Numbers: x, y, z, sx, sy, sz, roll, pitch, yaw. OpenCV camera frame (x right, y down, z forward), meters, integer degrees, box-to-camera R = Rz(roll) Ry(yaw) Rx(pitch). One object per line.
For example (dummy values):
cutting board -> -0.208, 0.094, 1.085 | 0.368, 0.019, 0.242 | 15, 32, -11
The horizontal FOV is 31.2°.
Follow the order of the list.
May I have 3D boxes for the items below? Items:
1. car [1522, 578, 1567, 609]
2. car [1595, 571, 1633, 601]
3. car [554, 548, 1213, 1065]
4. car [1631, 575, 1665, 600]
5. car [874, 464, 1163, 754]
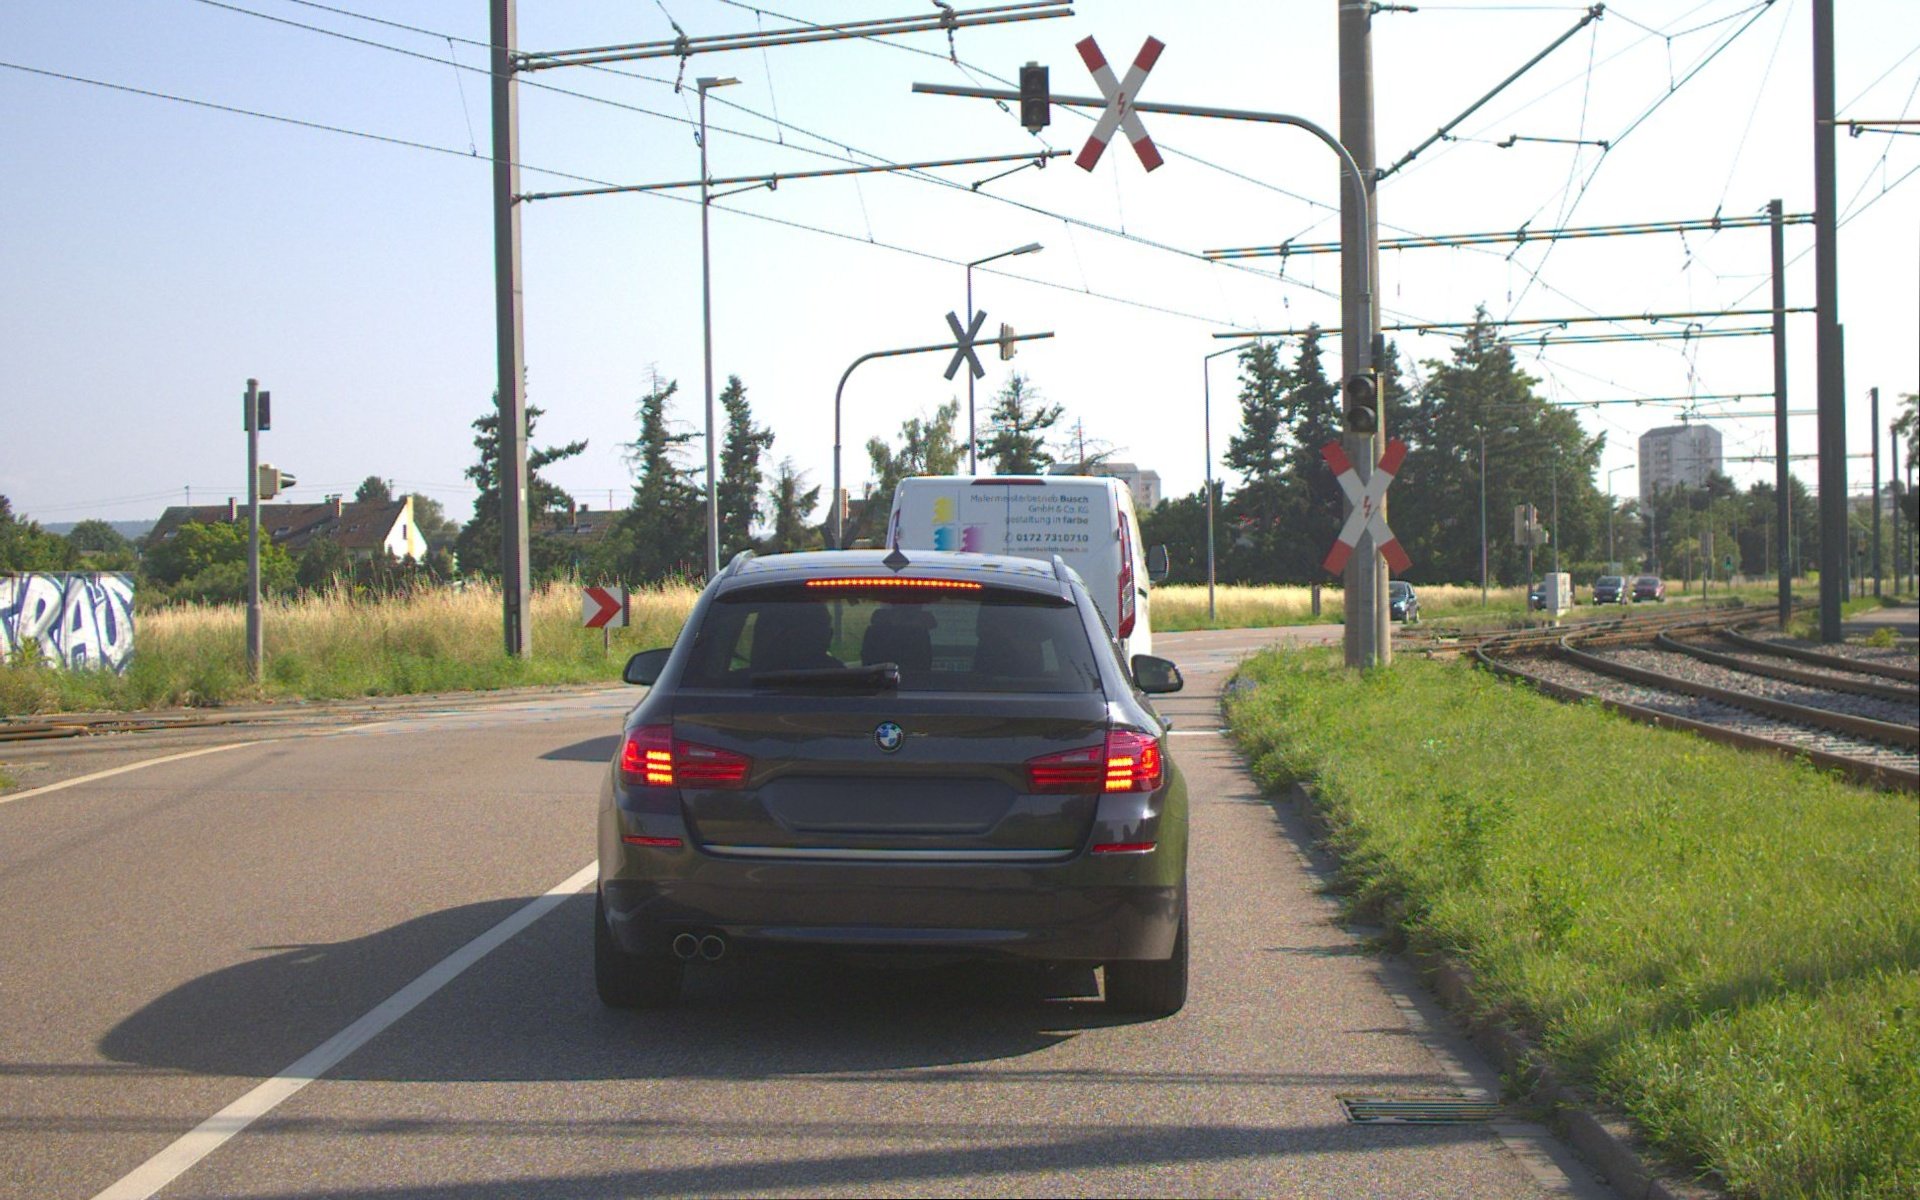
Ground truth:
car -> 28.483, -0.321, 167.488 | 1.694, 1.435, 4.280 | 1, 1, 16
car -> 37.165, -0.812, 195.243 | 1.707, 1.659, 4.586 | 0, 1, 16
car -> -0.232, 0.552, 12.141 | 1.869, 1.447, 4.744 | 0, 1, 0
car -> 42.851, -0.798, 214.003 | 1.714, 1.544, 3.925 | 0, 1, 17
car -> 0.547, 0.031, 26.185 | 1.858, 1.981, 5.107 | 0, 1, 5
